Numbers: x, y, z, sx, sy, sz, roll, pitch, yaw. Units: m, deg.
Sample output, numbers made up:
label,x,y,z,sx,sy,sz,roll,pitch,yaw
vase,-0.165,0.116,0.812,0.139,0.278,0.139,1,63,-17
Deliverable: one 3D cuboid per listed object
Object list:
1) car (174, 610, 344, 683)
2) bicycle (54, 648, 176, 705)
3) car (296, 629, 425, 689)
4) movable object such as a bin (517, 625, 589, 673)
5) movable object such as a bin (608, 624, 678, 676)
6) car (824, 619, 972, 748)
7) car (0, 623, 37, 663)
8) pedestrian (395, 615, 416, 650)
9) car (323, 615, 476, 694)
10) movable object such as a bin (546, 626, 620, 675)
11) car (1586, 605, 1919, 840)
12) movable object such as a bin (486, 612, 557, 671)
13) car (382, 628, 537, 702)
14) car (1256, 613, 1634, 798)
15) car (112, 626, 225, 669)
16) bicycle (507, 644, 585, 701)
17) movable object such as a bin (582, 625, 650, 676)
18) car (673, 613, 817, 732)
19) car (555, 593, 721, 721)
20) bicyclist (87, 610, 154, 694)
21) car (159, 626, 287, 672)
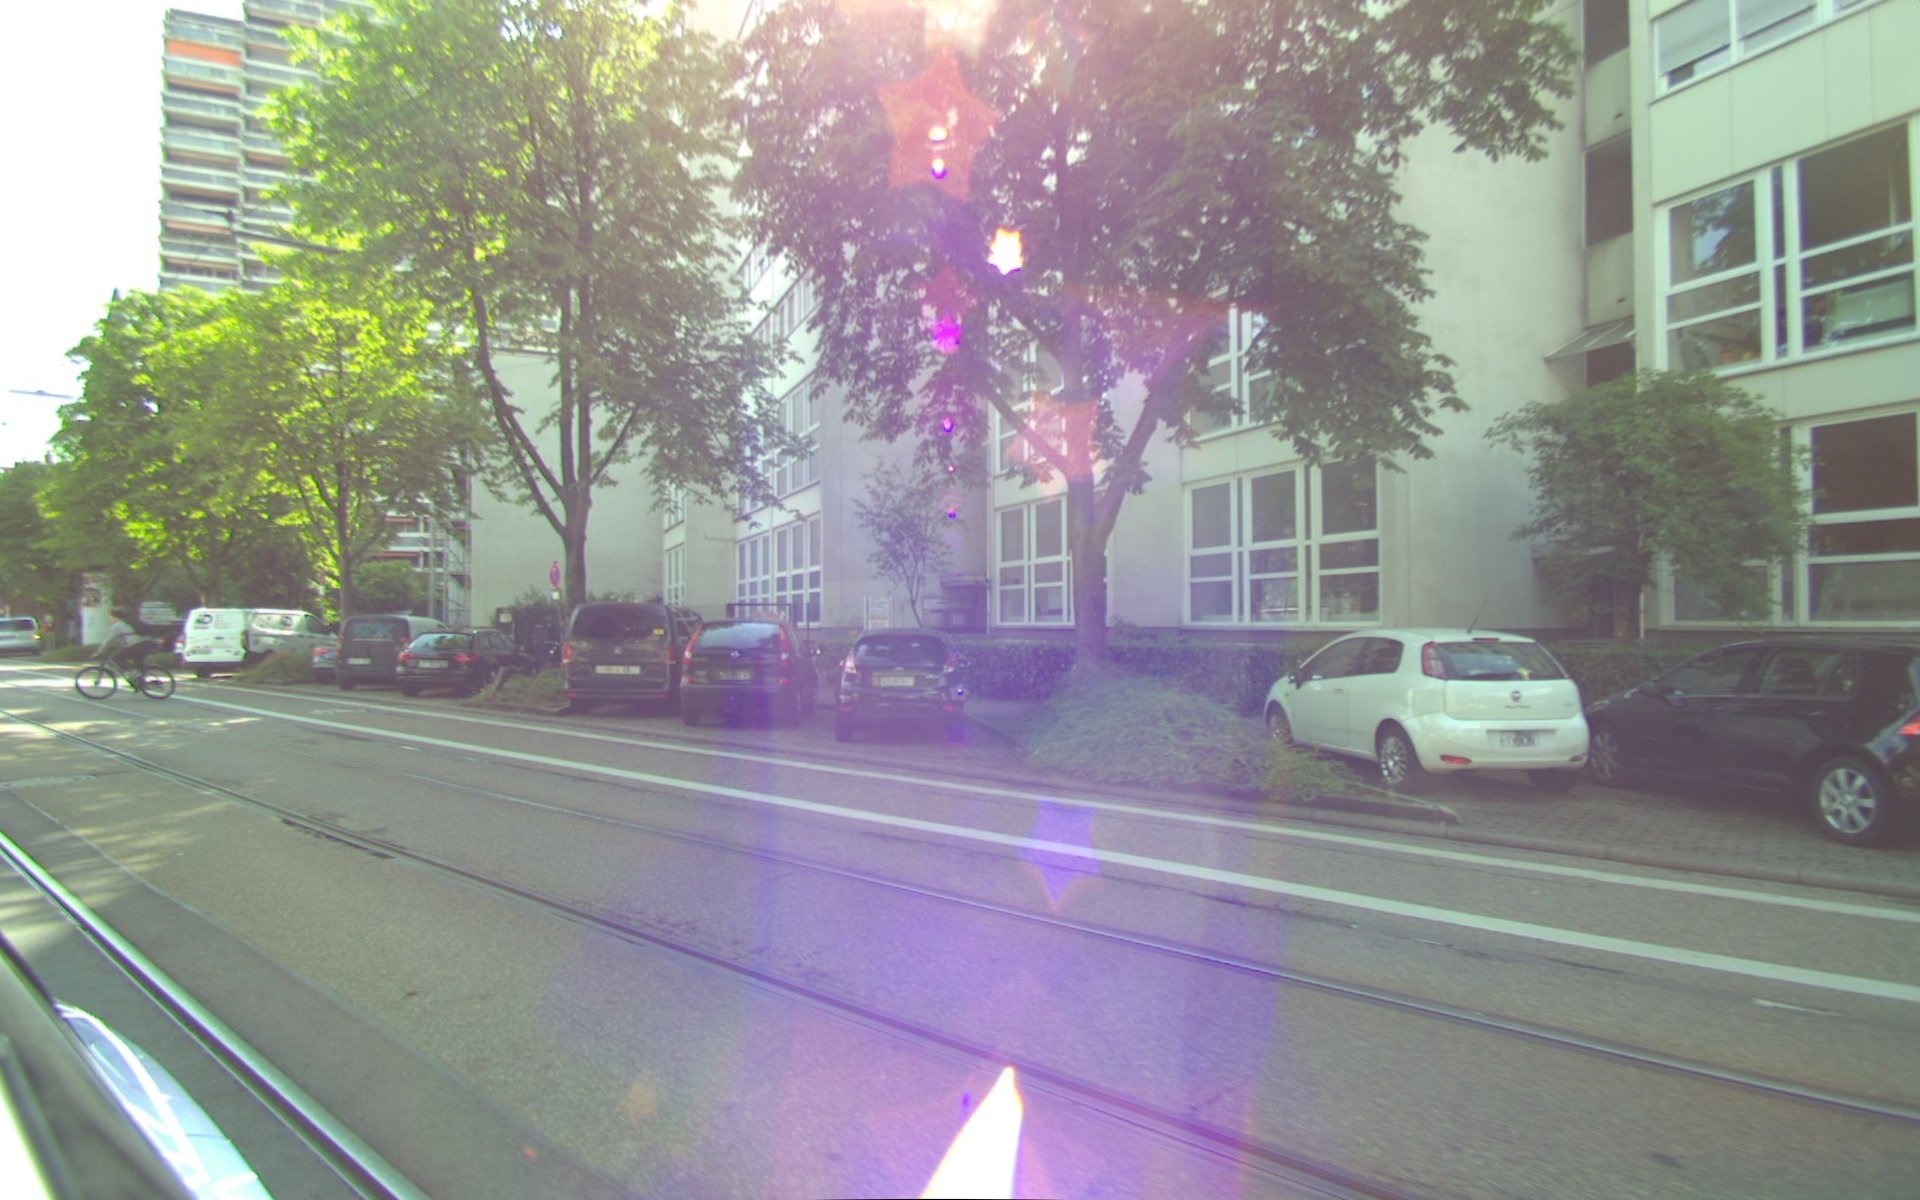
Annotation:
label,x,y,z,sx,sy,sz,roll,pitch,yaw
car,-20.720,1.340,30.197,1.940,2.012,4.688,0,-2,-2
bicycle,-16.342,1.471,19.591,1.977,1.048,0.655,0,-2,9
car,-15.742,1.553,26.801,1.694,1.428,4.009,2,-3,-12
movable object such as a bin,-12.436,1.498,30.908,1.536,1.374,1.375,-1,-4,36
movable object such as a bin,-8.599,1.353,27.436,1.440,1.337,1.152,-1,-5,38
car,-0.840,1.092,13.948,1.715,1.495,4.002,1,-3,-3
car,-48.294,2.162,51.086,4.232,1.865,1.869,-1,1,39
pedestrian,-26.008,1.508,47.500,0.659,1.636,0.635,0,0,31
car,-13.236,1.308,24.159,1.734,1.706,3.718,1,-3,-4
movable object such as a bin,-11.114,1.503,29.889,1.536,1.374,1.375,-1,-4,36
car,6.969,0.881,7.969,1.674,1.495,3.806,1,-3,0
movable object such as a bin,-13.884,1.307,32.059,1.536,1.795,1.375,-1,-4,36
car,-10.709,1.382,21.972,1.733,1.428,4.005,1,-3,-7
car,4.570,0.977,10.259,1.671,1.495,3.812,1,-3,-6
car,-30.843,1.811,39.575,1.715,1.535,3.891,0,-1,-7
bicycle,-8.805,1.514,21.617,0.577,1.127,1.995,0,-2,9
movable object such as a bin,-9.825,1.451,28.892,1.439,1.391,1.181,-1,-4,36
car,-3.243,1.110,15.965,1.714,1.605,4.004,1,-3,-5
car,-5.648,1.034,18.464,1.887,1.969,5.175,1,-3,-7
bicyclist,-16.239,1.002,19.593,0.734,1.588,0.641,0,-2,10
car,-25.834,1.695,35.667,1.794,1.512,4.199,0,-2,-7
